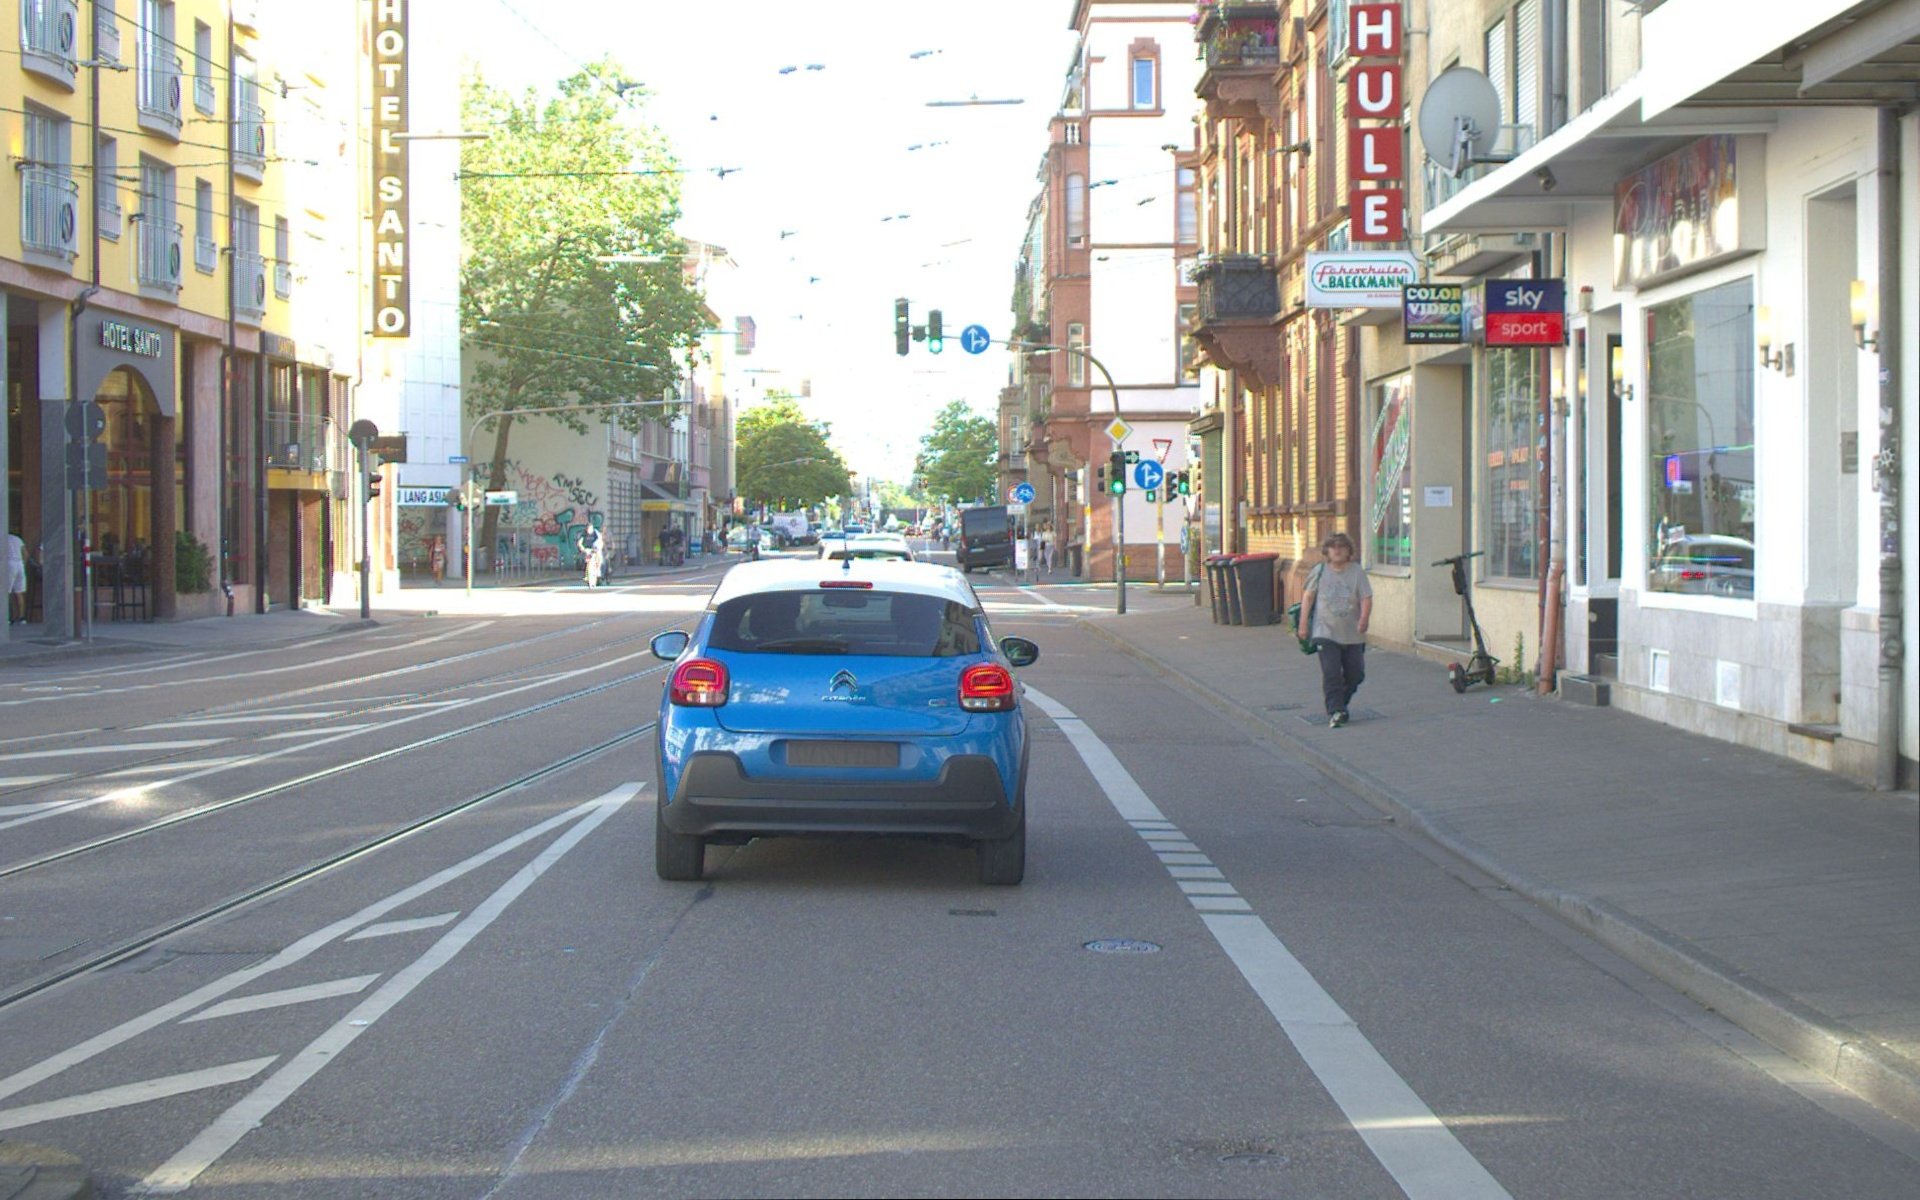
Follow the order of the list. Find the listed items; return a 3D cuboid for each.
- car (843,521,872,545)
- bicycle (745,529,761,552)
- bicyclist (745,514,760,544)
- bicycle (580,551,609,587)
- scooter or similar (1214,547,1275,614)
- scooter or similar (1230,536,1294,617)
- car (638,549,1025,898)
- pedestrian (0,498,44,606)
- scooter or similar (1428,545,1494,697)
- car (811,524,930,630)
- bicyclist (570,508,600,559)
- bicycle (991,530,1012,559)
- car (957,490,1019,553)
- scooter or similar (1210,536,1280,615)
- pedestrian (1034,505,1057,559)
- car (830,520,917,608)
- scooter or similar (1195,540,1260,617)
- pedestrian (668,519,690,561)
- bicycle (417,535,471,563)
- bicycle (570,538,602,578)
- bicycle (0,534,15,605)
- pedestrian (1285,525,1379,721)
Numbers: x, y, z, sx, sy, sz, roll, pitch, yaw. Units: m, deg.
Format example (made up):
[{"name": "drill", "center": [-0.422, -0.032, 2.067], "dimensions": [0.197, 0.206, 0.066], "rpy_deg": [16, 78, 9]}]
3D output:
[{"name": "car", "center": [-7.328, -4.794, 245.271], "dimensions": [1.993, 1.738, 4.563], "rpy_deg": [0, 1, -2]}, {"name": "bicycle", "center": [-10.024, -2.883, 166.424], "dimensions": [0.692, 1.116, 2.084], "rpy_deg": [0, 2, -2]}, {"name": "bicyclist", "center": [-10.041, -3.440, 166.354], "dimensions": [0.682, 1.478, 0.778], "rpy_deg": [0, 1, -2]}, {"name": "bicycle", "center": [-10.962, -0.944, 103.182], "dimensions": [0.730, 1.062, 2.062], "rpy_deg": [0, 1, -2]}, {"name": "scooter or similar", "center": [4.340, -0.305, 52.455], "dimensions": [0.790, 0.954, 0.680], "rpy_deg": [-4, 1, -2]}, {"name": "scooter or similar", "center": [4.522, -0.355, 51.535], "dimensions": [0.790, 1.144, 0.790], "rpy_deg": [-4, 1, -2]}, {"name": "car", "center": [-0.565, 0.511, 17.066], "dimensions": [1.674, 1.472, 4.000], "rpy_deg": [1, 1, 0]}, {"name": "pedestrian", "center": [-15.547, -0.799, 56.843], "dimensions": [0.561, 1.764, 0.722], "rpy_deg": [0, 1, 4]}, {"name": "scooter or similar", "center": [4.347, 0.164, 29.799], "dimensions": [0.410, 1.277, 1.283], "rpy_deg": [0, 1, 15]}, {"name": "car", "center": [-1.323, -0.366, 50.498], "dimensions": [1.667, 1.473, 4.001], "rpy_deg": [-1, 1, -2]}, {"name": "bicyclist", "center": [-10.464, -1.862, 95.934], "dimensions": [0.724, 1.376, 1.228], "rpy_deg": [1, 2, -2]}, {"name": "bicycle", "center": [1.362, -1.843, 113.972], "dimensions": [0.431, 0.944, 1.764], "rpy_deg": [0, 1, -8]}, {"name": "car", "center": [1.059, -3.062, 134.093], "dimensions": [2.271, 2.428, 5.720], "rpy_deg": [0, 1, -1]}, {"name": "scooter or similar", "center": [4.403, -0.380, 53.148], "dimensions": [0.933, 1.144, 0.650], "rpy_deg": [-4, 1, -2]}, {"name": "pedestrian", "center": [2.842, -2.265, 114.935], "dimensions": [0.705, 1.776, 0.673], "rpy_deg": [1, 1, -2]}, {"name": "car", "center": [-2.067, -0.870, 81.464], "dimensions": [1.993, 2.007, 4.001], "rpy_deg": [-1, 1, -2]}, {"name": "scooter or similar", "center": [4.214, -0.344, 54.211], "dimensions": [0.897, 1.144, 0.547], "rpy_deg": [-4, 1, -2]}, {"name": "pedestrian", "center": [-11.775, -2.505, 143.914], "dimensions": [0.682, 1.759, 1.025], "rpy_deg": [0, 1, 10]}, {"name": "bicycle", "center": [-18.945, -1.865, 126.300], "dimensions": [1.918, 1.031, 0.664], "rpy_deg": [0, 1, 26]}, {"name": "bicycle", "center": [-10.458, -1.186, 96.104], "dimensions": [0.730, 1.084, 2.062], "rpy_deg": [0, 1, -2]}, {"name": "bicycle", "center": [-16.365, -0.500, 57.191], "dimensions": [0.581, 1.198, 2.080], "rpy_deg": [0, 1, 4]}, {"name": "pedestrian", "center": [3.002, 0.175, 27.803], "dimensions": [0.648, 1.555, 0.781], "rpy_deg": [0, 1, -2]}]
